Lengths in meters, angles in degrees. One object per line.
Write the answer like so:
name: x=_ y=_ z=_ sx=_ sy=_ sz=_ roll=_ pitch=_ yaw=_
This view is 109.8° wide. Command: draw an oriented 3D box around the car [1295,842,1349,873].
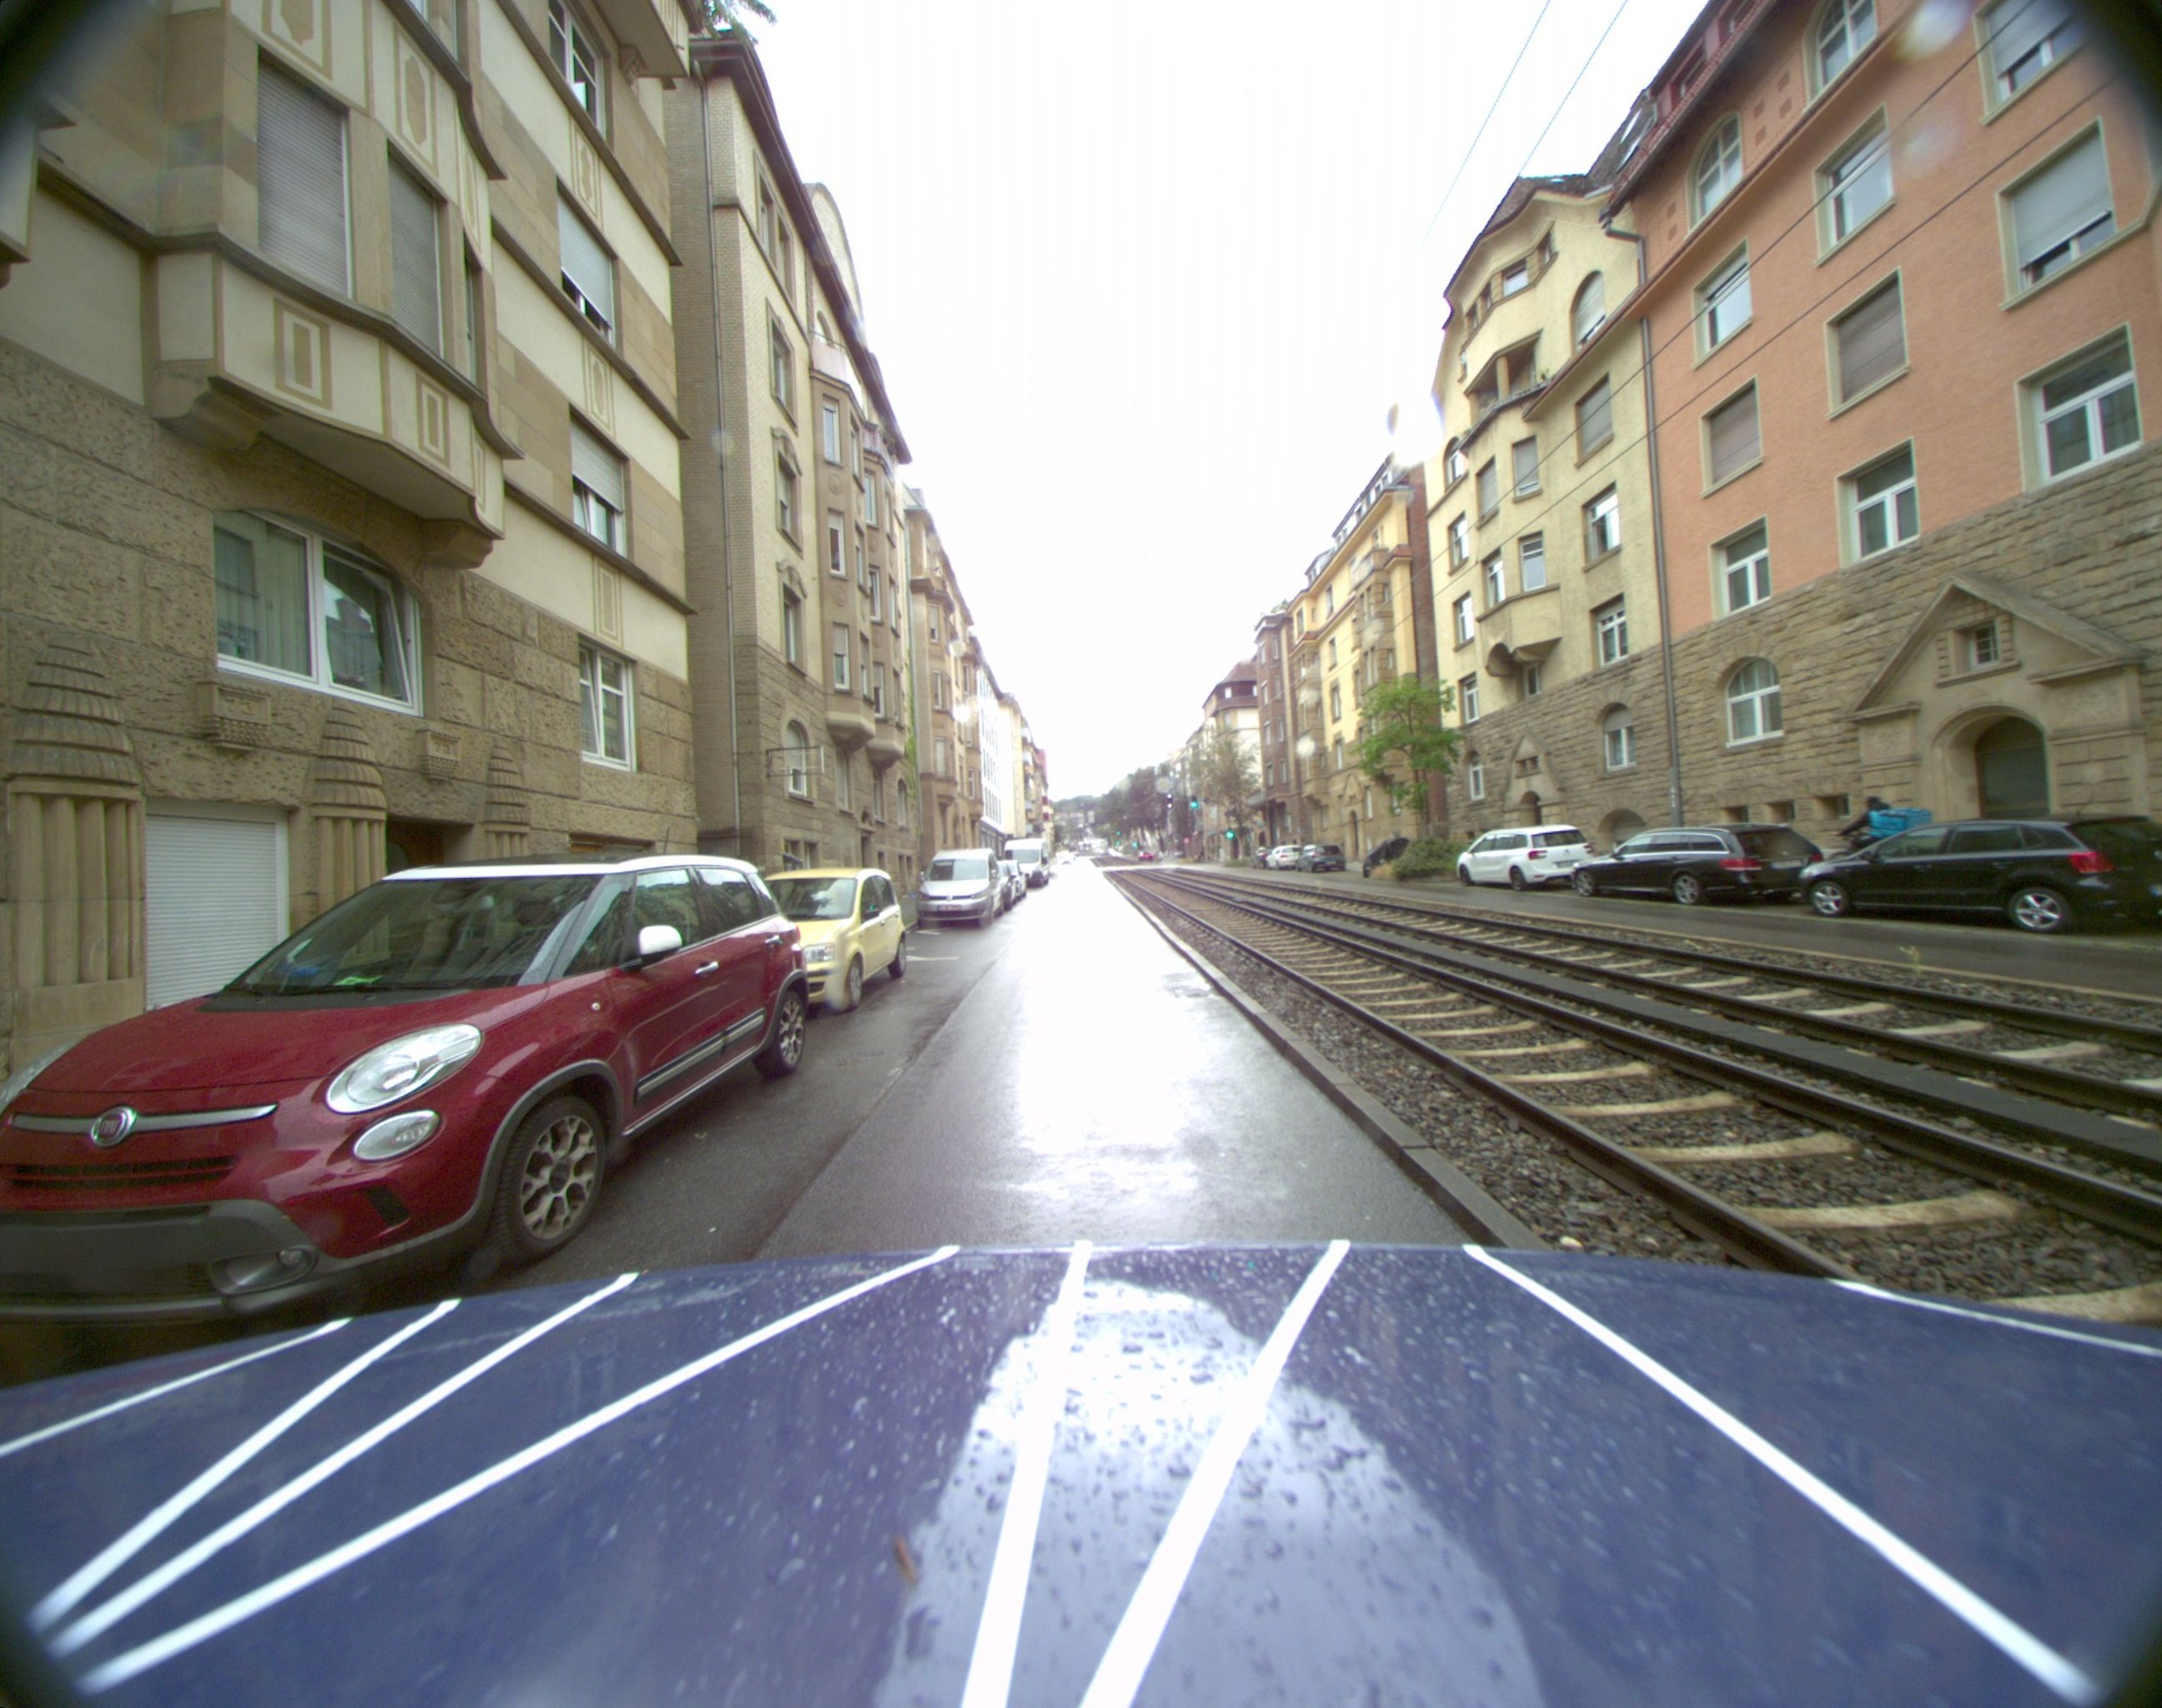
car: x=12.502 y=0.127 z=39.621 sx=1.678 sy=1.433 sz=3.845 roll=-4 pitch=1 yaw=3

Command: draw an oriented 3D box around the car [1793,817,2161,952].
car: x=12.528 y=0.313 z=10.473 sx=1.935 sy=1.488 sz=3.641 roll=-2 pitch=1 yaw=-2

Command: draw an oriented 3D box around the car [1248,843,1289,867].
car: x=12.480 y=0.064 z=50.755 sx=1.771 sy=1.433 sz=3.845 roll=-3 pitch=0 yaw=1

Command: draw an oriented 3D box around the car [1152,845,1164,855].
car: x=12.834 y=-0.643 z=126.842 sx=1.657 sy=1.589 sz=3.775 roll=-3 pitch=0 yaw=1

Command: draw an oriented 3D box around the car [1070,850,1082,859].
car: x=-0.966 y=-0.002 z=142.814 sx=1.998 sy=1.562 sz=4.000 roll=-3 pitch=0 yaw=1

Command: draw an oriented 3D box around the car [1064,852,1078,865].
car: x=-1.492 y=0.715 z=116.177 sx=1.998 sy=1.838 sz=4.000 roll=-3 pitch=0 yaw=1

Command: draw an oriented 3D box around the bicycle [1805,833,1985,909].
bicycle: x=14.117 y=0.281 z=13.286 sx=0.826 sy=1.179 sz=2.036 roll=-3 pitch=0 yaw=-6

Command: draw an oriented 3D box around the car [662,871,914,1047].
car: x=-3.190 y=1.043 z=9.047 sx=1.580 sy=1.520 sz=3.578 roll=-3 pitch=0 yaw=-1

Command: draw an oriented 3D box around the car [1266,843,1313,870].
car: x=12.470 y=0.117 z=45.660 sx=1.771 sy=1.433 sz=4.031 roll=-3 pitch=0 yaw=2

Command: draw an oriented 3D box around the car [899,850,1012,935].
car: x=-3.011 y=0.851 z=19.206 sx=1.968 sy=1.792 sz=4.459 roll=-3 pitch=0 yaw=1

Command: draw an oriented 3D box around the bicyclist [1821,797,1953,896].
bicyclist: x=14.032 y=-0.127 z=13.266 sx=0.887 sy=1.588 sz=1.252 roll=-4 pitch=1 yaw=-8

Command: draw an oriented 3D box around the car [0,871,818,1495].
car: x=-3.034 y=0.980 z=4.099 sx=1.807 sy=1.590 sz=3.999 roll=-3 pitch=0 yaw=-1

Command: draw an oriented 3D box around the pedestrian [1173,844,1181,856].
pedestrian: x=15.971 y=-0.676 z=126.729 sx=1.056 sy=1.946 sz=1.163 roll=-3 pitch=1 yaw=2

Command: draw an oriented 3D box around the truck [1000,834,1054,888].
truck: x=-2.725 y=0.344 z=39.952 sx=2.235 sy=2.521 sz=6.143 roll=-3 pitch=0 yaw=1

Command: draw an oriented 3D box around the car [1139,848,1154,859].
car: x=9.759 y=-0.071 z=113.905 sx=1.807 sy=1.514 sz=4.964 roll=-3 pitch=0 yaw=1

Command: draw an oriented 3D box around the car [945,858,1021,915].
car: x=-2.965 y=0.941 z=23.822 sx=1.999 sy=1.521 sz=3.999 roll=-3 pitch=0 yaw=-3

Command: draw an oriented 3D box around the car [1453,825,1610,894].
car: x=12.272 y=0.133 z=21.053 sx=1.867 sy=1.646 sz=4.146 roll=-3 pitch=0 yaw=1

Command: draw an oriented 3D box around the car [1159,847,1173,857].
car: x=12.866 y=-0.286 z=115.372 sx=1.771 sy=1.507 sz=3.845 roll=-3 pitch=0 yaw=1

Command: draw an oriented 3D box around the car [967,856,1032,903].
car: x=-2.954 y=0.883 z=28.323 sx=1.891 sy=1.521 sz=3.929 roll=-3 pitch=0 yaw=1

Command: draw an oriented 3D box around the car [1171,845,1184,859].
car: x=12.669 y=-0.243 z=99.552 sx=1.583 sy=1.669 sz=3.790 roll=-3 pitch=2 yaw=7

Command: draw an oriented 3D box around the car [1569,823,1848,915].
car: x=12.290 y=0.246 z=15.391 sx=1.847 sy=1.486 sz=4.601 roll=-3 pitch=0 yaw=1

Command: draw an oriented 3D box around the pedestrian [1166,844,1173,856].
pedestrian: x=14.750 y=-0.631 z=126.738 sx=1.056 sy=1.946 sz=1.163 roll=-3 pitch=1 yaw=2

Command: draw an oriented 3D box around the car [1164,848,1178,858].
car: x=12.570 y=-0.097 z=106.390 sx=1.583 sy=1.303 sz=3.845 roll=-3 pitch=0 yaw=1
